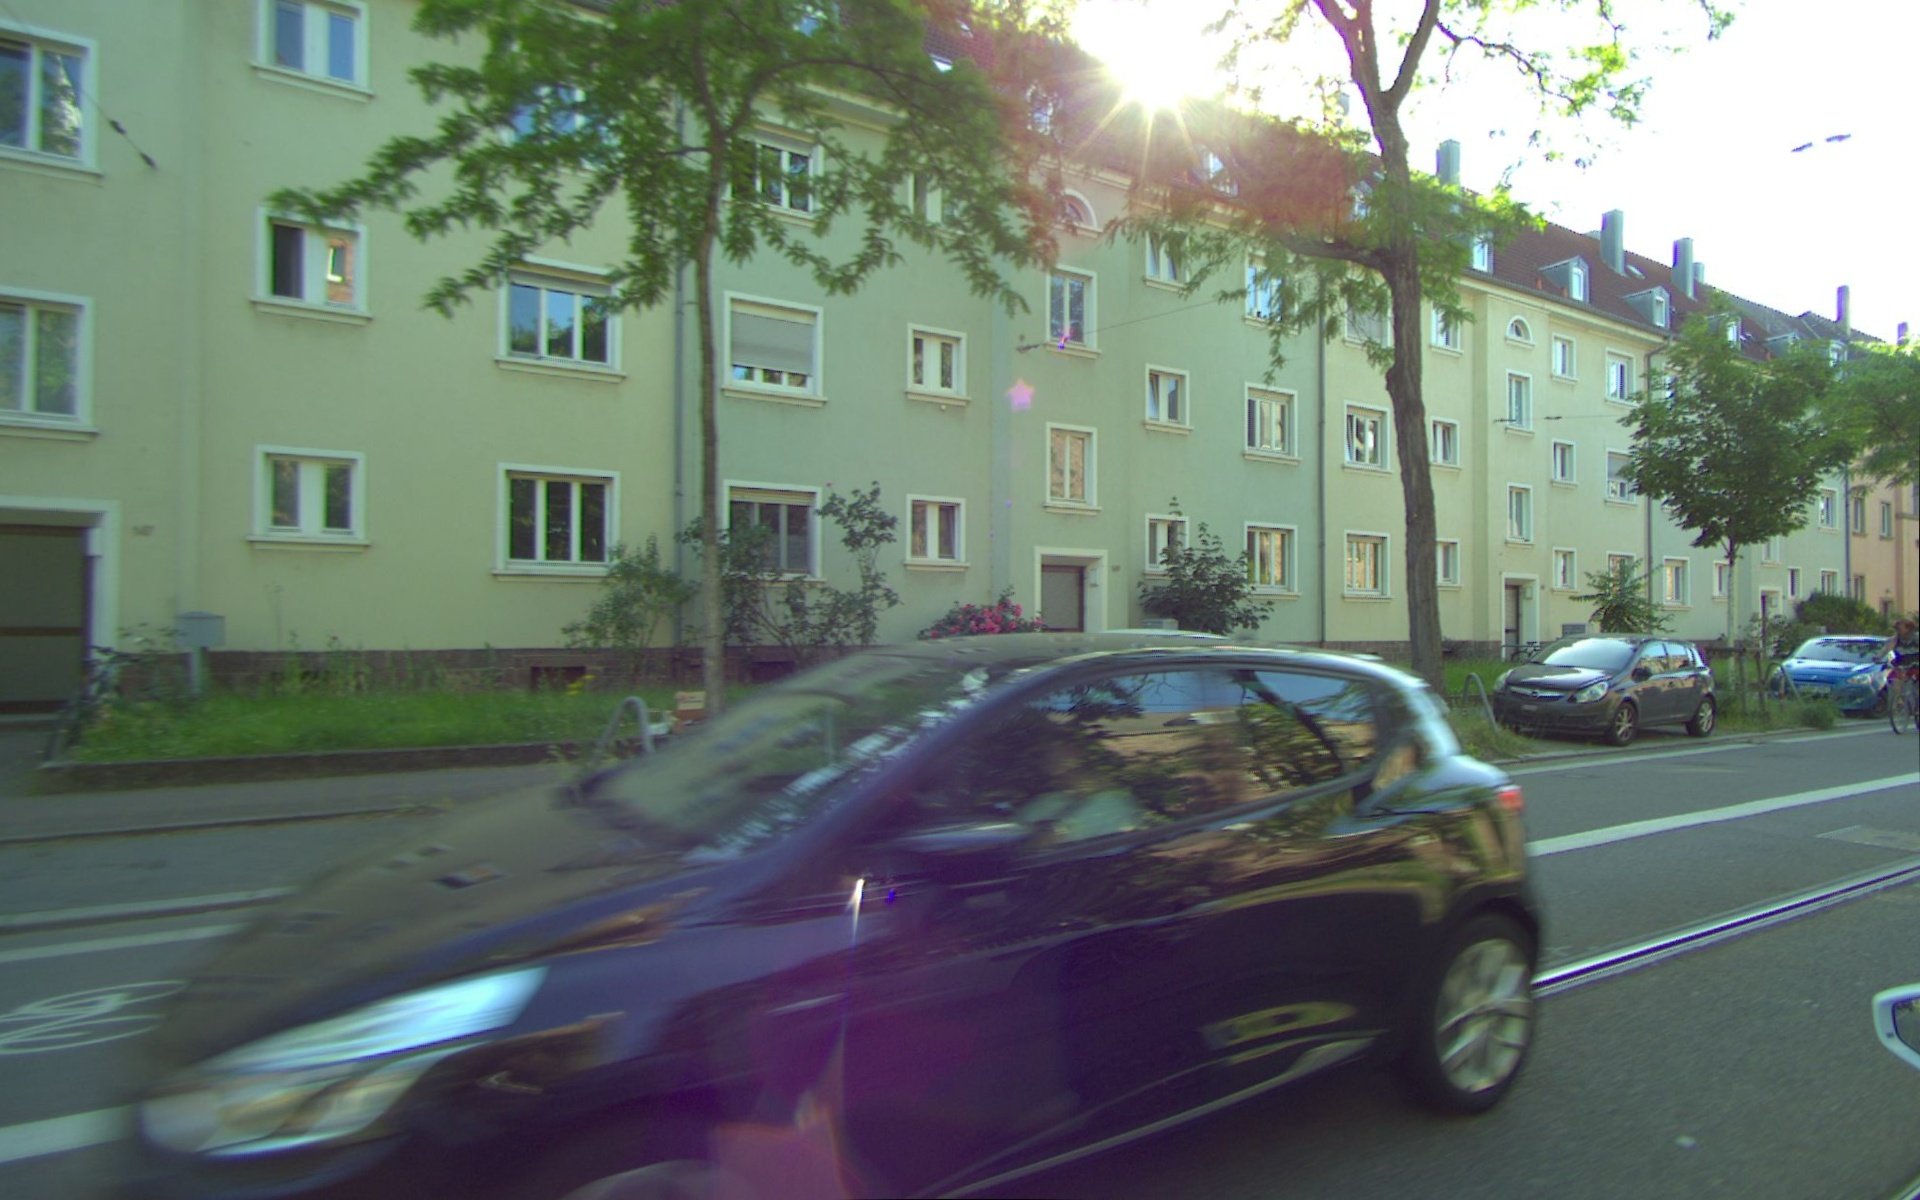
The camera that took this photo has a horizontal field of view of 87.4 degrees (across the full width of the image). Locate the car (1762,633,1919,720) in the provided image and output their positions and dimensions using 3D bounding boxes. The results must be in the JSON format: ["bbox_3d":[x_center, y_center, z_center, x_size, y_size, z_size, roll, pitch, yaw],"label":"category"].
[{"bbox_3d":[17.407,1.421,19.617,3.888,1.476,1.551,1,1,-33],"label":"car"}]

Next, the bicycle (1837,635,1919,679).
[{"bbox_3d":[28.970,1.765,31.432,0.551,1.214,2.279,0,1,-23],"label":"bicycle"}]

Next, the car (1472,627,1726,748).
[{"bbox_3d":[9.456,1.197,14.809,3.718,1.505,1.678,1,1,-32],"label":"car"}]

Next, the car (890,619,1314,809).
[{"bbox_3d":[1.487,0.997,10.105,4.032,1.505,1.694,1,1,-31],"label":"car"}]

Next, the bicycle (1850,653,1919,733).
[{"bbox_3d":[14.969,1.450,15.933,1.891,1.193,0.691,1,-4,-31],"label":"bicycle"}]

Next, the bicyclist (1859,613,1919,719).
[{"bbox_3d":[14.934,1.047,15.931,0.855,1.628,0.706,1,-4,-30],"label":"bicyclist"}]

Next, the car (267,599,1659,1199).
[{"bbox_3d":[0.316,0.777,3.181,4.026,1.458,1.690,1,-1,-32],"label":"car"}]

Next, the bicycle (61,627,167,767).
[{"bbox_3d":[-8.359,0.901,9.986,0.516,1.193,1.896,1,0,-32],"label":"bicycle"}]
